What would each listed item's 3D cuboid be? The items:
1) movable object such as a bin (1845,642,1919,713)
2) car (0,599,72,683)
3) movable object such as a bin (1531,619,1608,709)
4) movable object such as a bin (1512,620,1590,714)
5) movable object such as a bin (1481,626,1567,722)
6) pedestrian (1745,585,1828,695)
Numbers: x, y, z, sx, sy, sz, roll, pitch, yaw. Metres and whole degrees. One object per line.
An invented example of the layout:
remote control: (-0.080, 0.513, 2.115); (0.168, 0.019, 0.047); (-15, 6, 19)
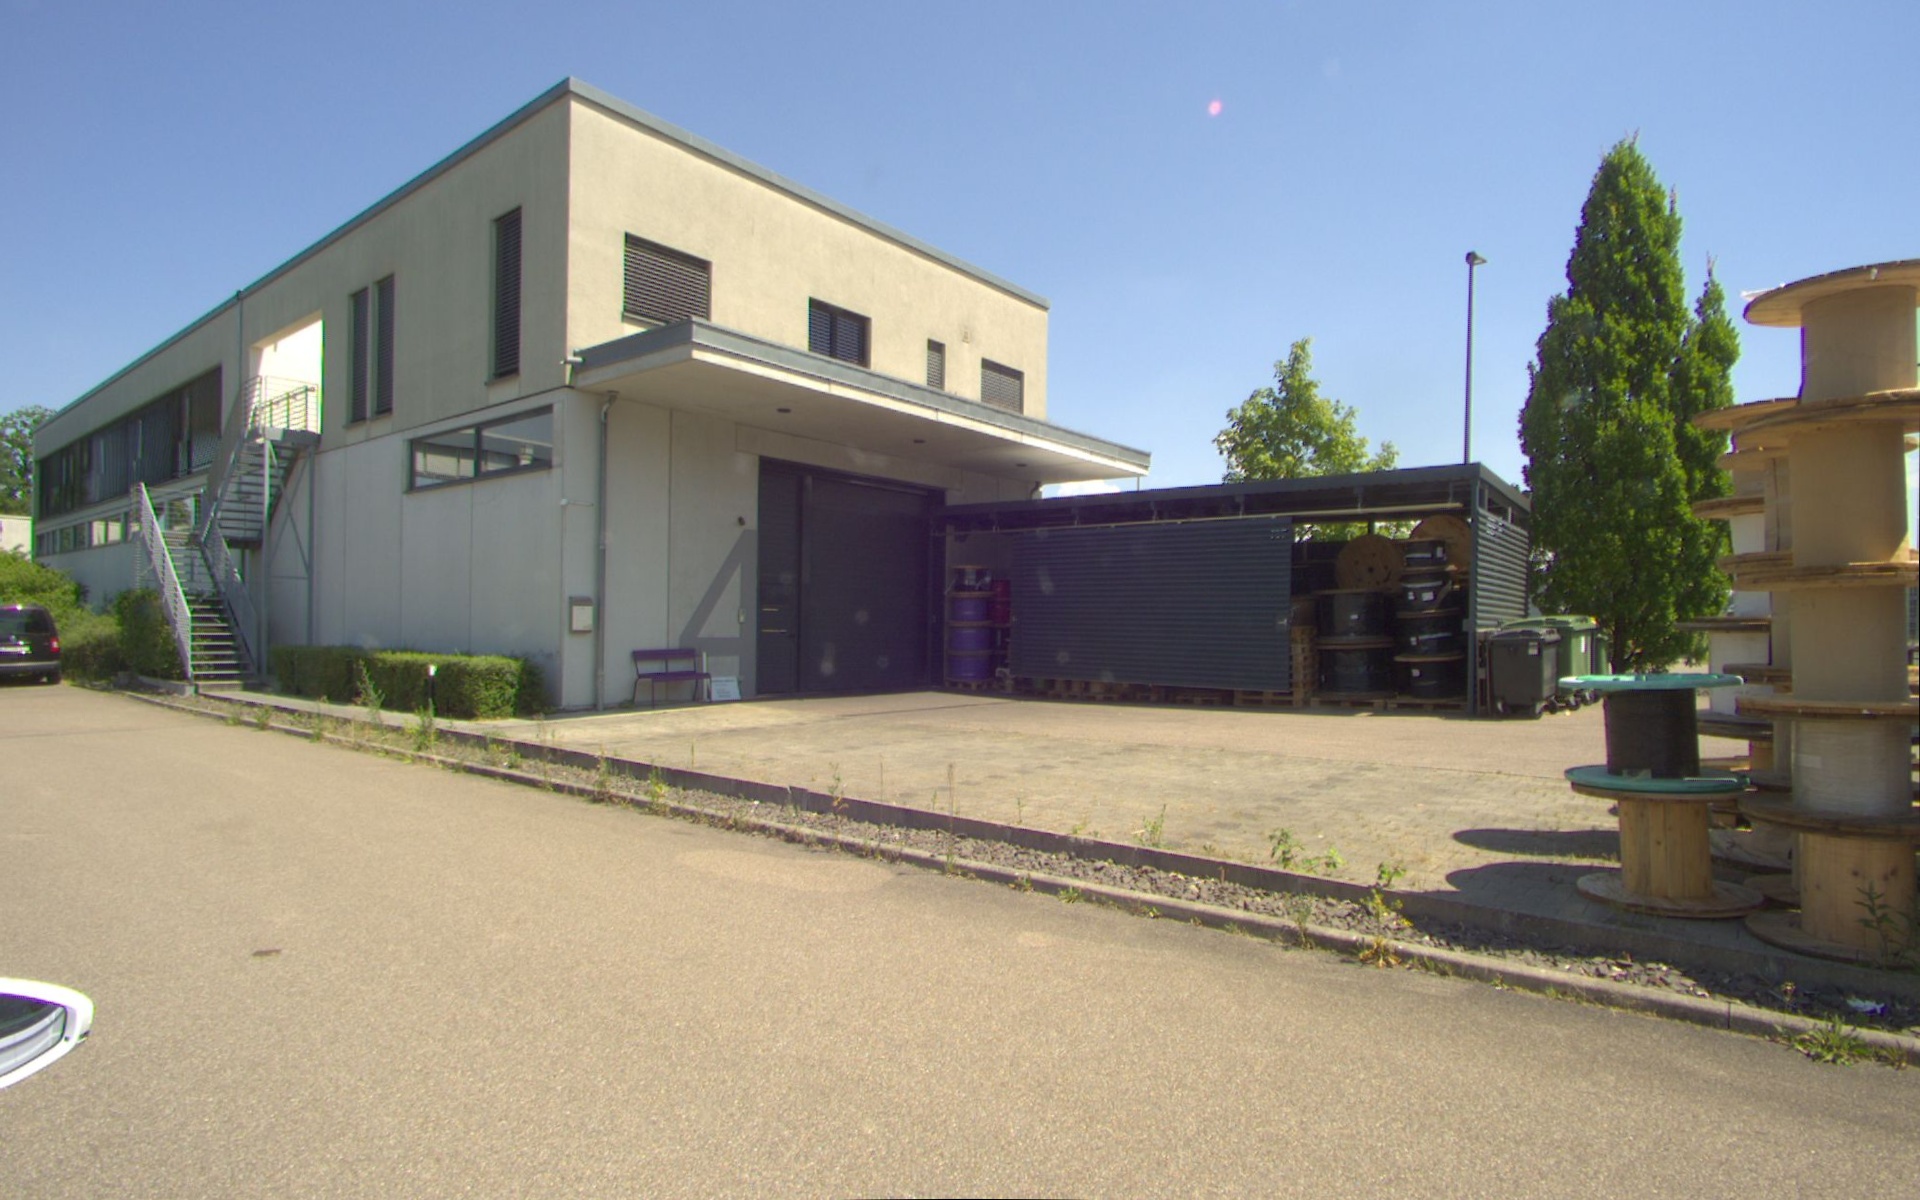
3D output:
movable object such as a bin: (12.503, 1.043, 13.573); (0.537, 0.929, 0.585); (-1, -1, 15)
car: (-22.581, 0.926, 23.713); (3.951, 1.861, 1.736); (0, 0, 39)
movable object such as a bin: (9.304, 0.957, 15.281); (0.802, 1.315, 0.794); (0, -1, -43)
movable object such as a bin: (8.674, 0.961, 14.705); (0.748, 1.315, 0.794); (0, -1, -43)
movable object such as a bin: (7.779, 0.995, 13.802); (0.867, 1.266, 0.794); (0, -1, -43)
pedestrian: (13.878, 0.660, 16.821); (0.756, 1.792, 0.807); (-1, 1, -20)
